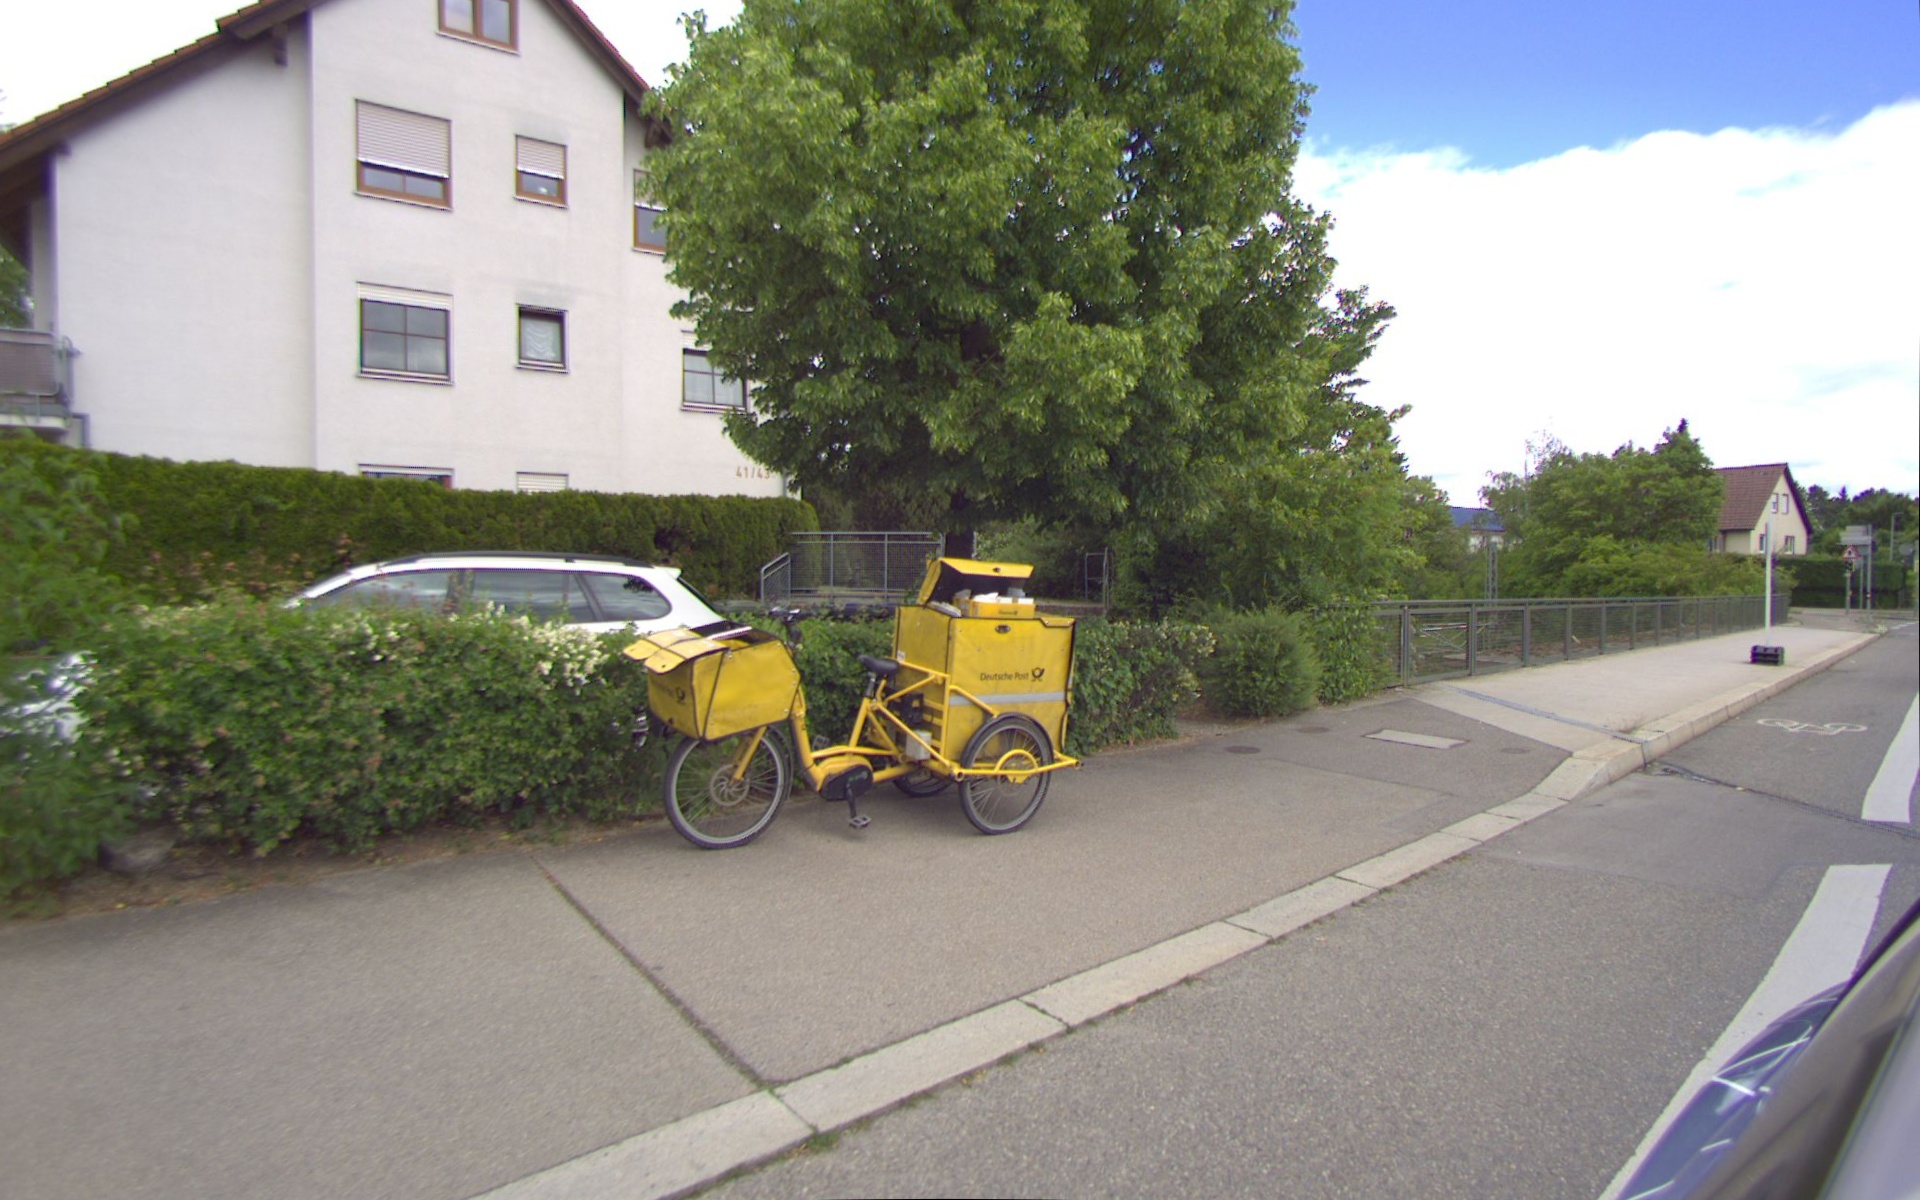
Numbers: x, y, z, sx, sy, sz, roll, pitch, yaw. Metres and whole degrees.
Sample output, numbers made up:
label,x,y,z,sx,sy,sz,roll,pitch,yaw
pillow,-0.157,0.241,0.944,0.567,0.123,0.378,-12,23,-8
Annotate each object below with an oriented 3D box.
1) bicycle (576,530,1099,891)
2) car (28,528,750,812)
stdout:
label,x,y,z,sx,sy,sz,roll,pitch,yaw
bicycle,-0.554,0.451,5.546,2.732,1.528,0.894,0,5,-39
car,-3.694,0.398,7.176,3.978,1.523,1.677,1,0,-30
